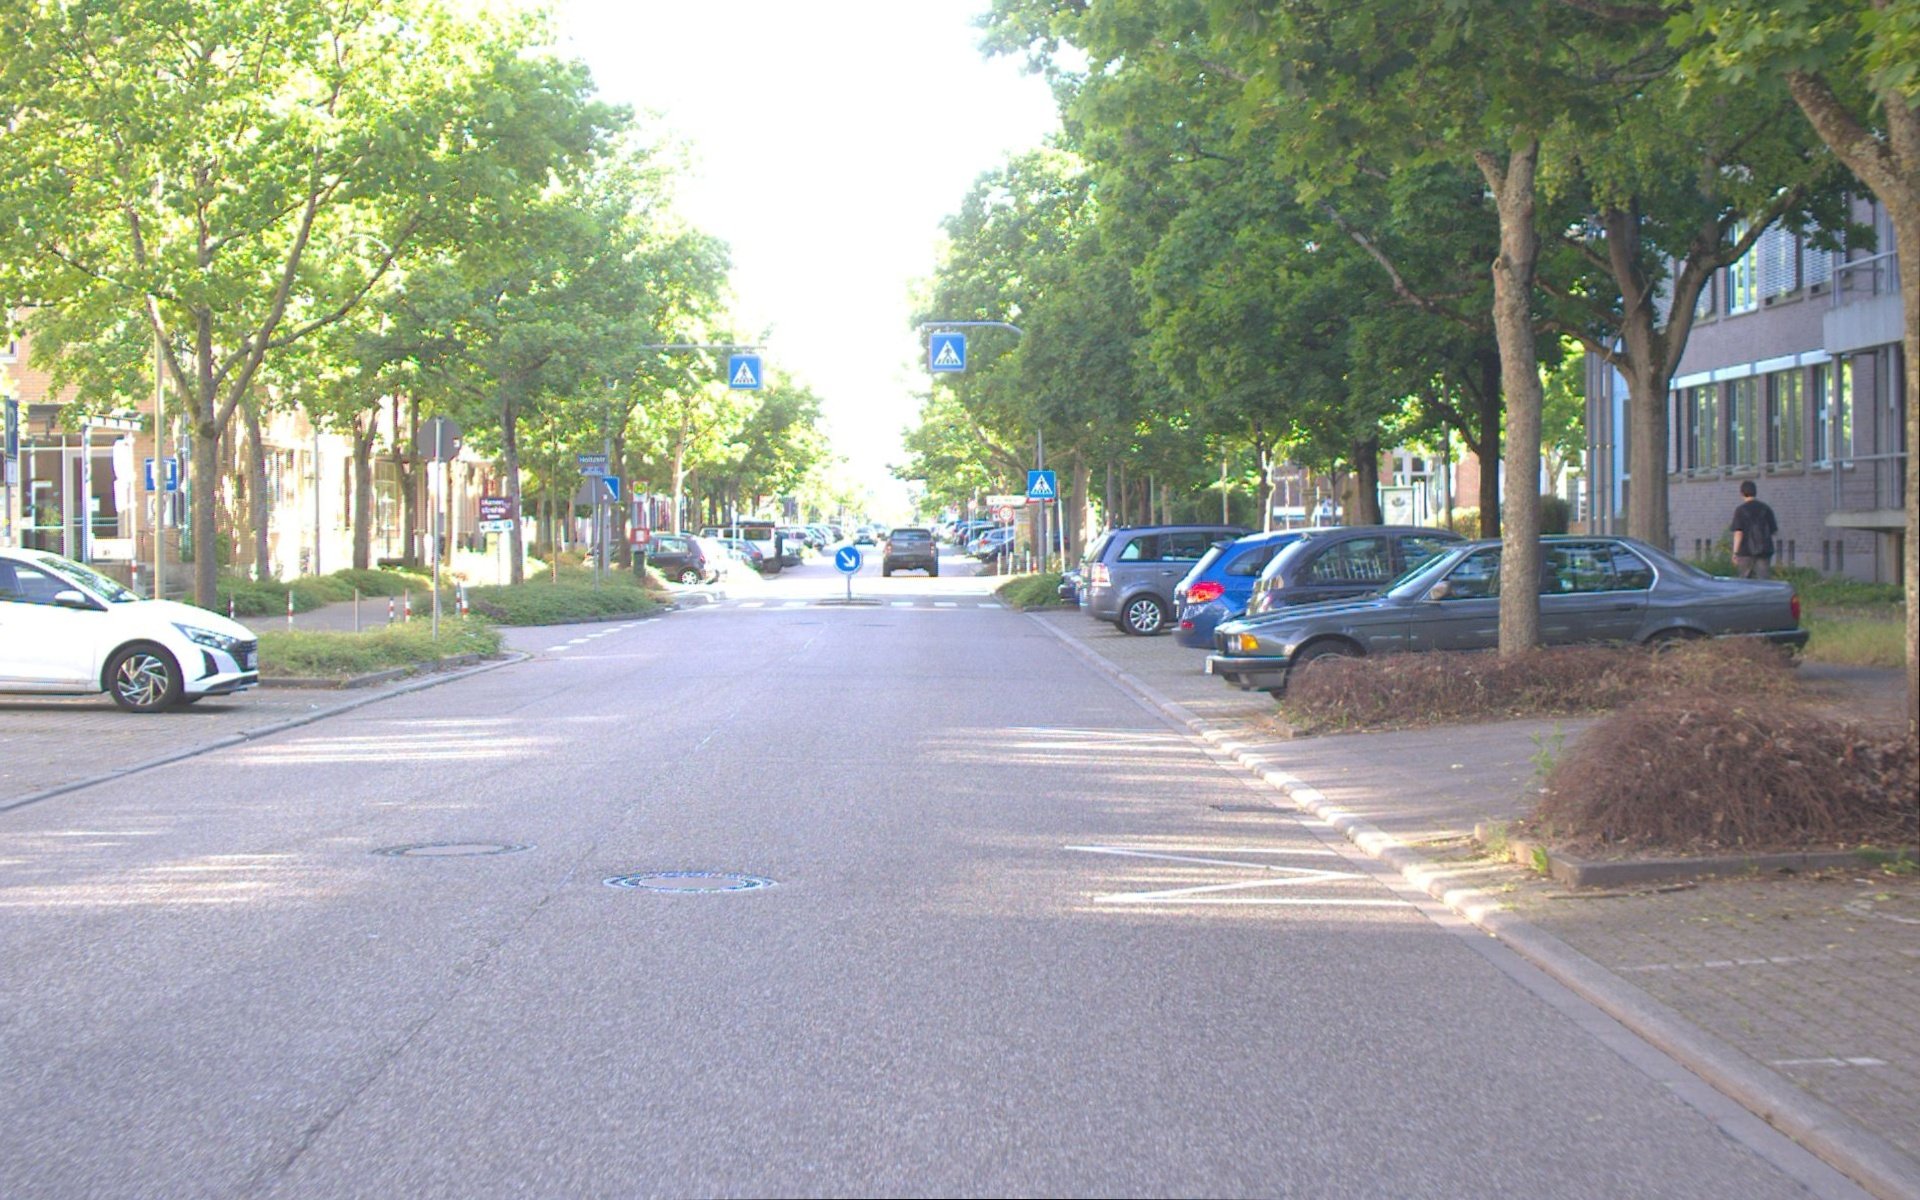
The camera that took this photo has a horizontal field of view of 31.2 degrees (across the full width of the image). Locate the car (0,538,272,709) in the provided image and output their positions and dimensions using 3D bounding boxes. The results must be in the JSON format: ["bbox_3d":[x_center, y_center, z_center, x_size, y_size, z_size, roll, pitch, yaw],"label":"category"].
[{"bbox_3d":[-8.363,0.191,31.018,3.986,1.481,1.807,0,1,-1],"label":"car"}]

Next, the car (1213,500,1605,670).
[{"bbox_3d":[4.461,-0.168,34.560,3.641,1.509,1.813,-2,1,0],"label":"car"}]

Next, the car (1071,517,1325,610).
[{"bbox_3d":[4.138,-0.648,60.187,4.190,1.443,1.813,-2,1,-3],"label":"car"}]

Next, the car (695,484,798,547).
[{"bbox_3d":[-8.771,-3.468,141.310,3.987,2.532,1.862,0,1,4],"label":"car"}]

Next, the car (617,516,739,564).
[{"bbox_3d":[-9.089,-1.923,110.545,3.848,1.468,1.813,1,1,-6],"label":"car"}]

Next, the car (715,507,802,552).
[{"bbox_3d":[-9.406,-3.293,160.450,3.986,2.007,2.000,-1,1,-2],"label":"car"}]

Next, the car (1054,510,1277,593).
[{"bbox_3d":[4.077,-0.969,68.630,4.190,1.468,1.813,-2,1,-3],"label":"car"}]

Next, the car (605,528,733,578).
[{"bbox_3d":[-8.974,-1.448,105.785,3.847,1.468,1.813,1,1,-7],"label":"car"}]

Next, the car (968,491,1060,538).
[{"bbox_3d":[2.425,-3.855,154.938,3.986,2.007,2.000,-1,1,-2],"label":"car"}]

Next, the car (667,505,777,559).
[{"bbox_3d":[-9.191,-2.631,132.815,3.987,2.007,2.000,-1,1,4],"label":"car"}]

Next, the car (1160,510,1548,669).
[{"bbox_3d":[4.201,-0.132,37.144,3.949,1.509,1.813,-2,1,1],"label":"car"}]

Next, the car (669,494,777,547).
[{"bbox_3d":[-9.373,-3.139,136.230,3.987,2.007,2.000,-1,1,4],"label":"car"}]

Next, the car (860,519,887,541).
[{"bbox_3d":[-6.196,-5.051,246.745,1.813,1.519,4.000,-1,1,0],"label":"car"}]

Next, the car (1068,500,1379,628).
[{"bbox_3d":[3.896,-0.546,51.280,4.350,1.698,1.813,-2,1,-3],"label":"car"}]

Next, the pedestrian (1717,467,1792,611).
[{"bbox_3d":[9.796,-0.751,42.419,0.607,1.739,1.191,-1,1,-1],"label":"pedestrian"}]

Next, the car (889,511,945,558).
[{"bbox_3d":[-1.577,-2.392,125.365,1.993,1.634,4.000,1,1,-1],"label":"car"}]

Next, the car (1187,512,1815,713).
[{"bbox_3d":[4.435,0.074,28.699,4.824,1.415,2.032,-2,1,-2],"label":"car"}]
